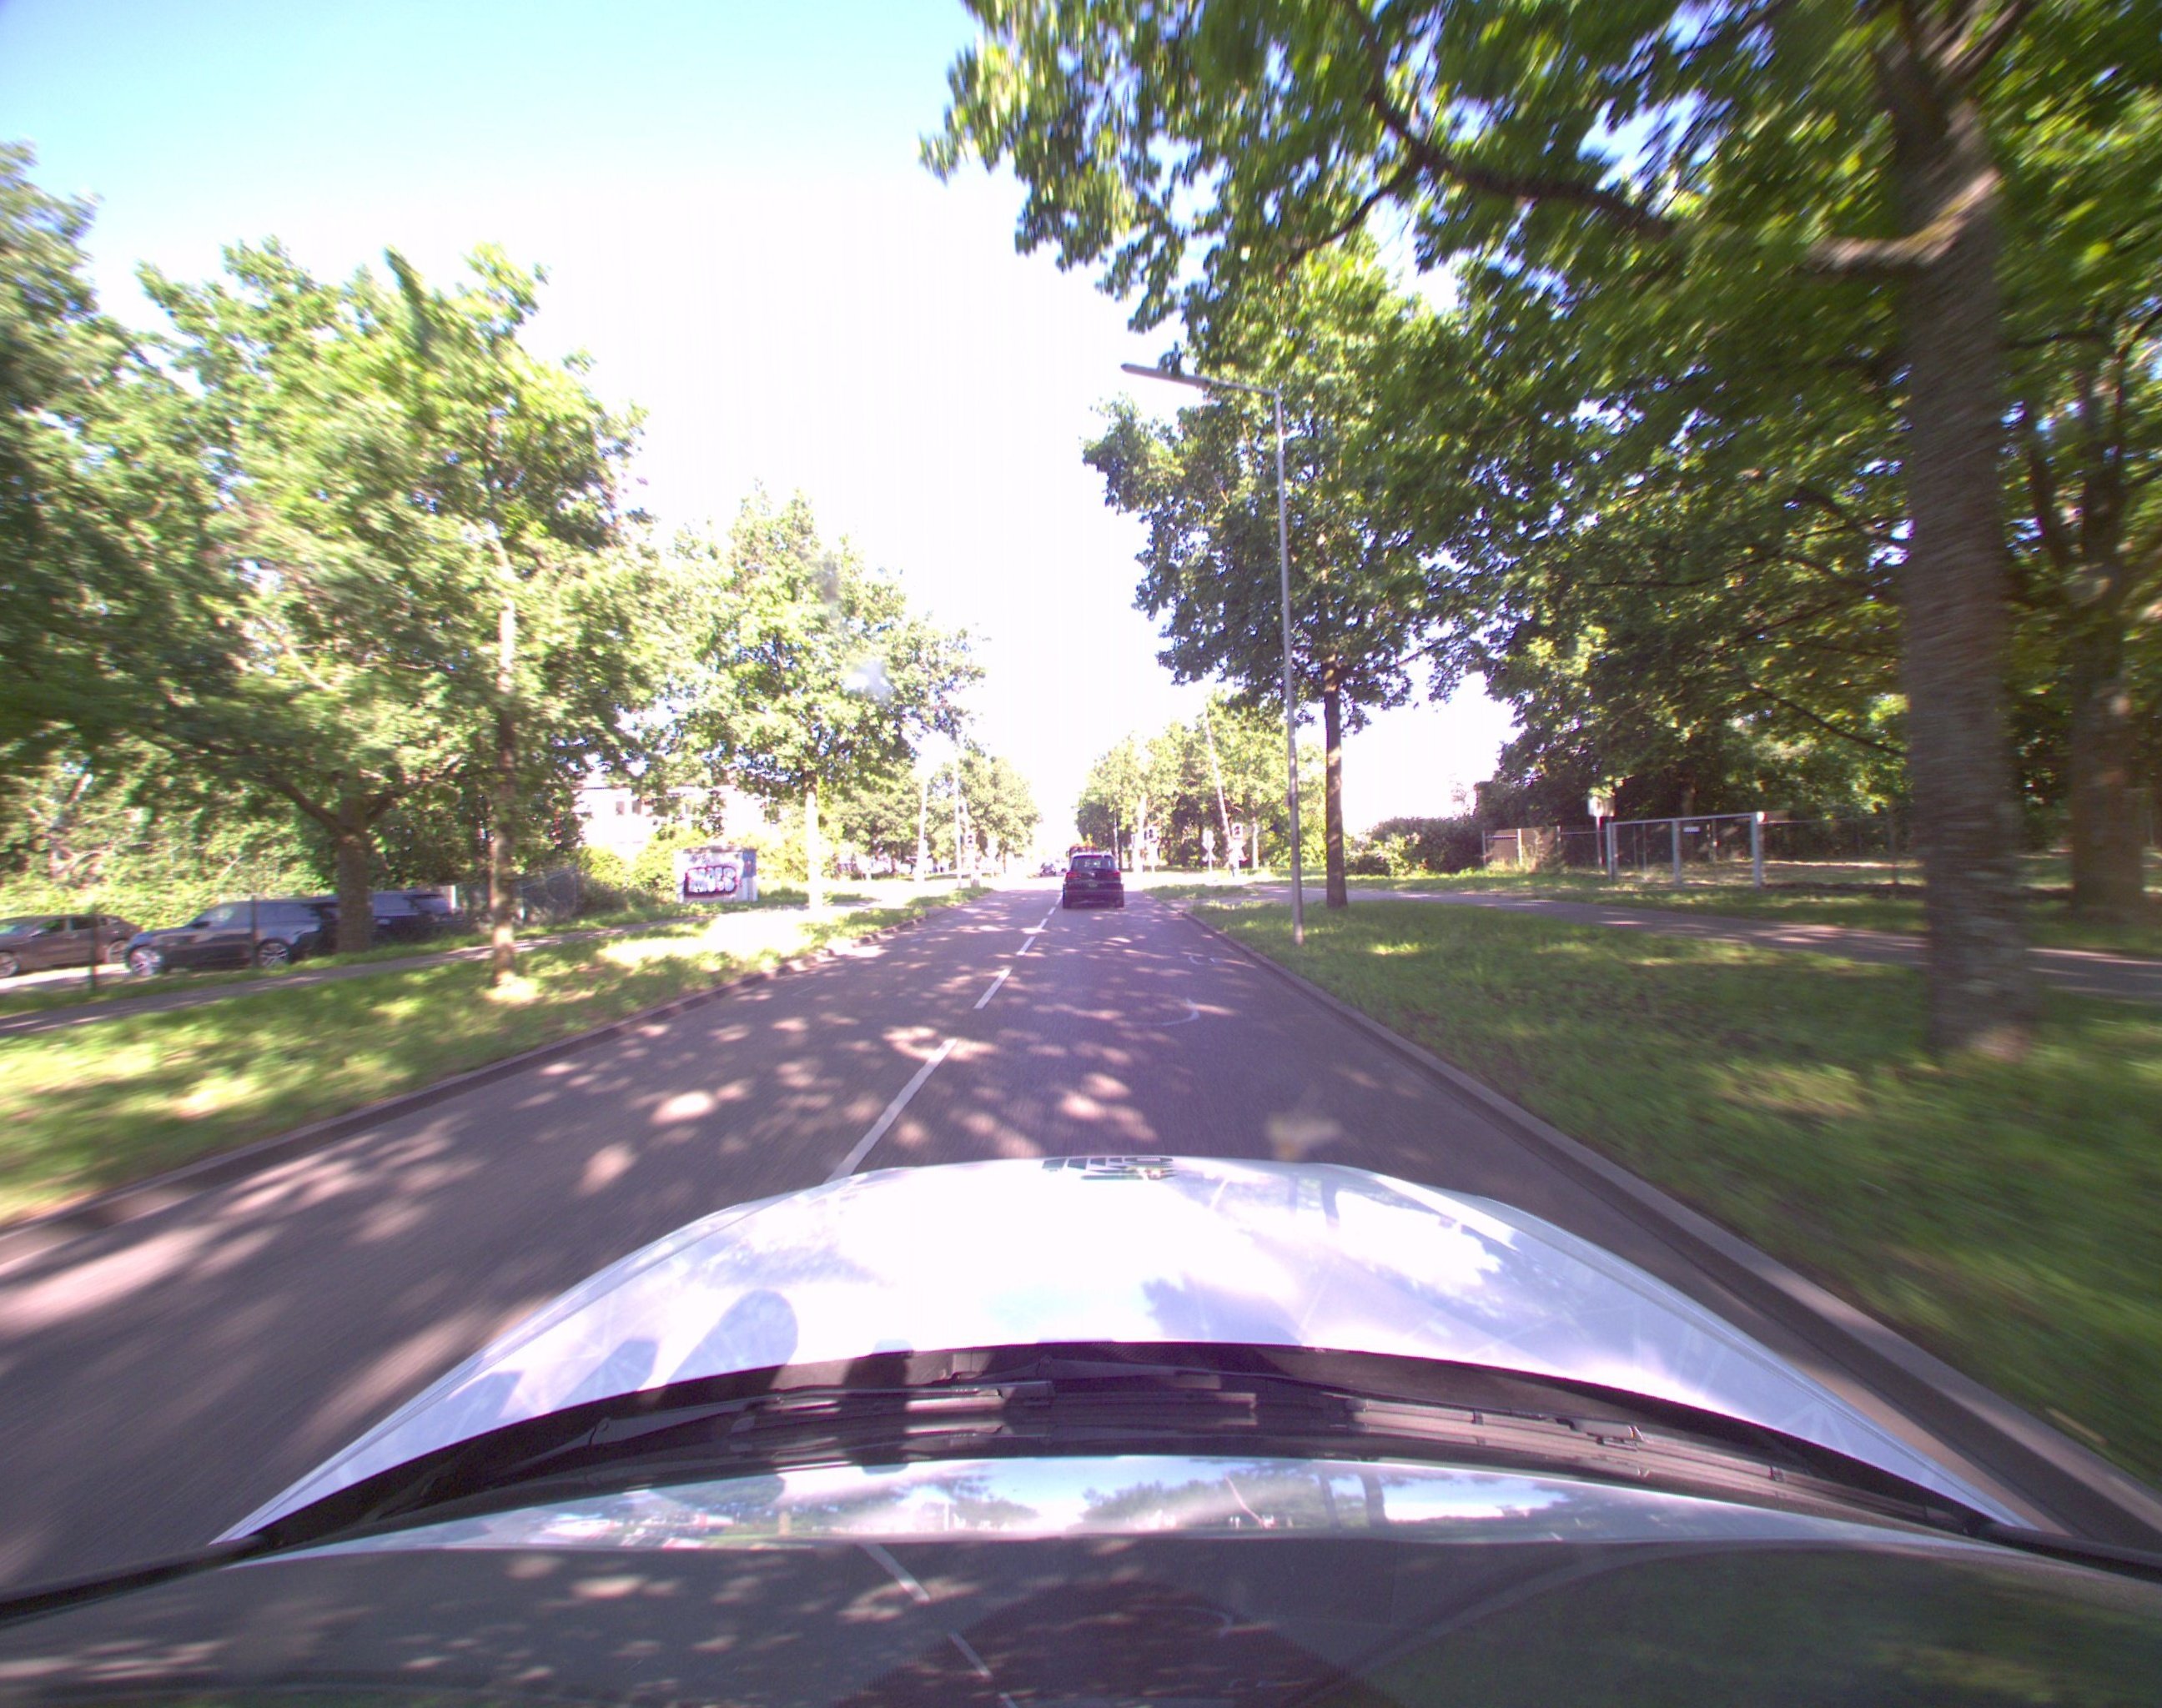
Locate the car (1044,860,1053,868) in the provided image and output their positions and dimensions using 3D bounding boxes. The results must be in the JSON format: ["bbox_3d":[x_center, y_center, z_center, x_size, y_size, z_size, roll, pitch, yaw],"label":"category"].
[{"bbox_3d":[-8.354,2.616,210.398,1.991,2.014,3.991,0,0,-6],"label":"car"}]

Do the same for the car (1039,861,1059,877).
[{"bbox_3d":[-3.209,1.525,82.450,1.558,1.504,4.004,0,0,3],"label":"car"}]

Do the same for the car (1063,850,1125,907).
[{"bbox_3d":[0.419,0.717,25.531,1.776,1.633,4.001,0,0,1],"label":"car"}]

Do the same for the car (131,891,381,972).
[{"bbox_3d":[-20.790,1.915,20.697,4.180,1.801,1.998,0,0,-3],"label":"car"}]

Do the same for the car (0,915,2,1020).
[{"bbox_3d":[-20.577,1.966,12.912,3.980,1.801,1.997,0,0,-5],"label":"car"}]

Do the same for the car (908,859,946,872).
[{"bbox_3d":[-24.403,1.753,129.135,5.793,2.014,1.992,0,0,-11],"label":"car"}]

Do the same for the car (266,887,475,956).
[{"bbox_3d":[-20.398,1.902,23.544,4.180,1.801,1.998,0,0,-3],"label":"car"}]

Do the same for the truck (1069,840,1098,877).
[{"bbox_3d":[0.307,0.430,78.085,2.503,3.243,8.153,-2,0,1],"label":"truck"}]

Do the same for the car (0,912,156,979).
[{"bbox_3d":[-30.923,2.672,23.969,1.989,1.566,4.879,0,0,-4],"label":"car"}]
